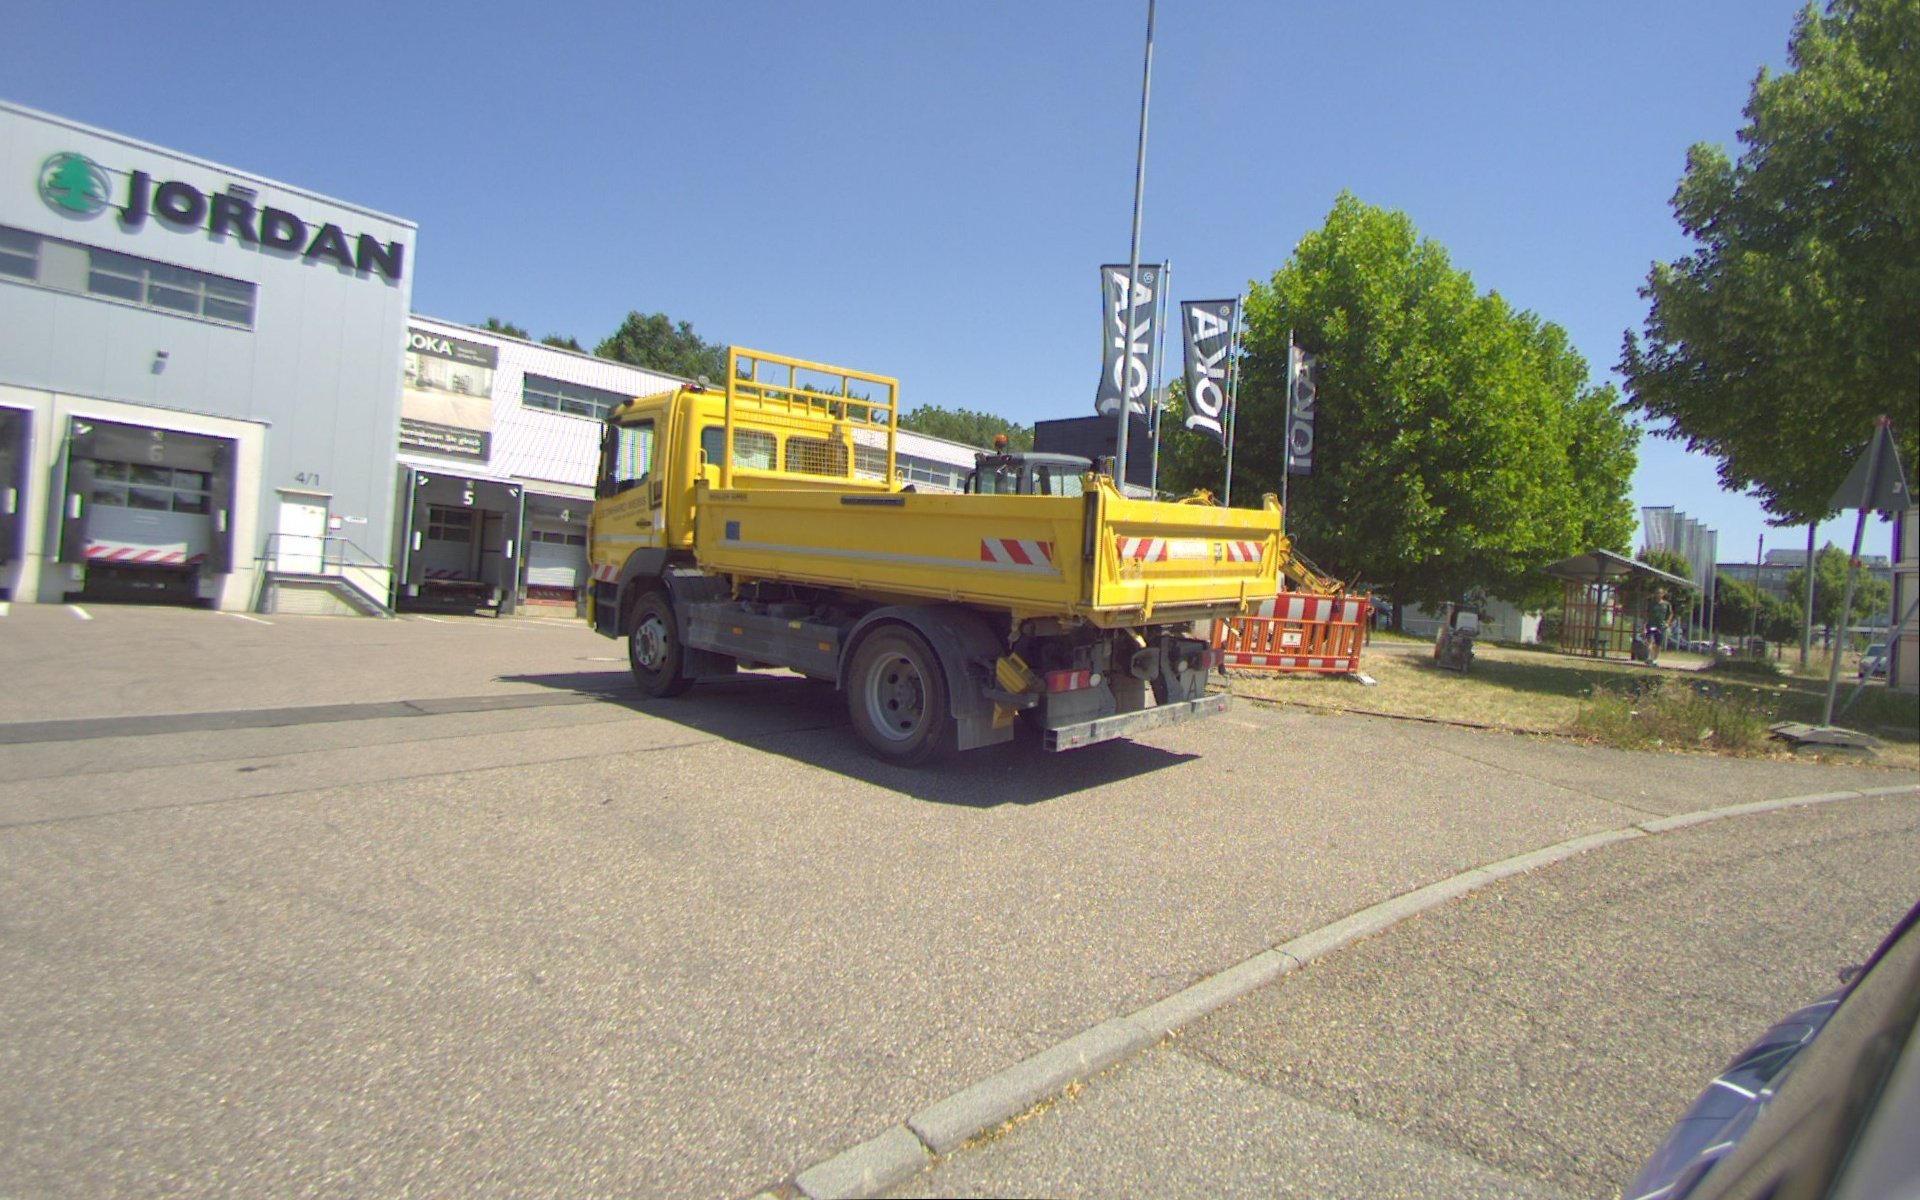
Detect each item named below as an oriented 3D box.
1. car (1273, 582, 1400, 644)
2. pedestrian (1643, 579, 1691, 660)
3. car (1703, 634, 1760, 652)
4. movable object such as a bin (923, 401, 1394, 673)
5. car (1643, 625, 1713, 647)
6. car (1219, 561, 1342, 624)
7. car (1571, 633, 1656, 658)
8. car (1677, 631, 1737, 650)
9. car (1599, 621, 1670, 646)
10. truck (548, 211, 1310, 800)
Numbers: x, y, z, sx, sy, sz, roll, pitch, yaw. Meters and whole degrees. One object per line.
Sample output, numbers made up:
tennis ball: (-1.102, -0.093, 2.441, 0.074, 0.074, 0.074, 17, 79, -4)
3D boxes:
car: (14.476, 0.485, 39.033, 4.240, 2.039, 1.528, 4, -2, 36)
pedestrian: (15.338, 0.416, 21.972, 0.520, 1.691, 0.580, 5, -2, -17)
car: (69.207, 3.843, 90.778, 1.583, 1.290, 3.835, 3, 2, -45)
movable object such as a bin: (2.756, -0.616, 12.568, 6.459, 2.613, 1.999, 1, 2, -39)
car: (52.280, 2.608, 73.719, 1.677, 1.290, 3.883, 3, 2, -45)
car: (9.963, -0.211, 31.348, 3.931, 1.749, 1.838, 2, 2, -42)
car: (41.235, 2.879, 63.883, 1.469, 1.197, 4.266, 7, -2, -45)
car: (63.823, 3.439, 86.479, 1.677, 1.289, 3.883, 2, 2, -45)
car: (45.080, 2.227, 67.697, 1.629, 1.342, 3.658, 7, -2, -44)
truck: (-0.744, -0.744, 8.584, 6.404, 3.174, 2.556, 6, 4, 42)
